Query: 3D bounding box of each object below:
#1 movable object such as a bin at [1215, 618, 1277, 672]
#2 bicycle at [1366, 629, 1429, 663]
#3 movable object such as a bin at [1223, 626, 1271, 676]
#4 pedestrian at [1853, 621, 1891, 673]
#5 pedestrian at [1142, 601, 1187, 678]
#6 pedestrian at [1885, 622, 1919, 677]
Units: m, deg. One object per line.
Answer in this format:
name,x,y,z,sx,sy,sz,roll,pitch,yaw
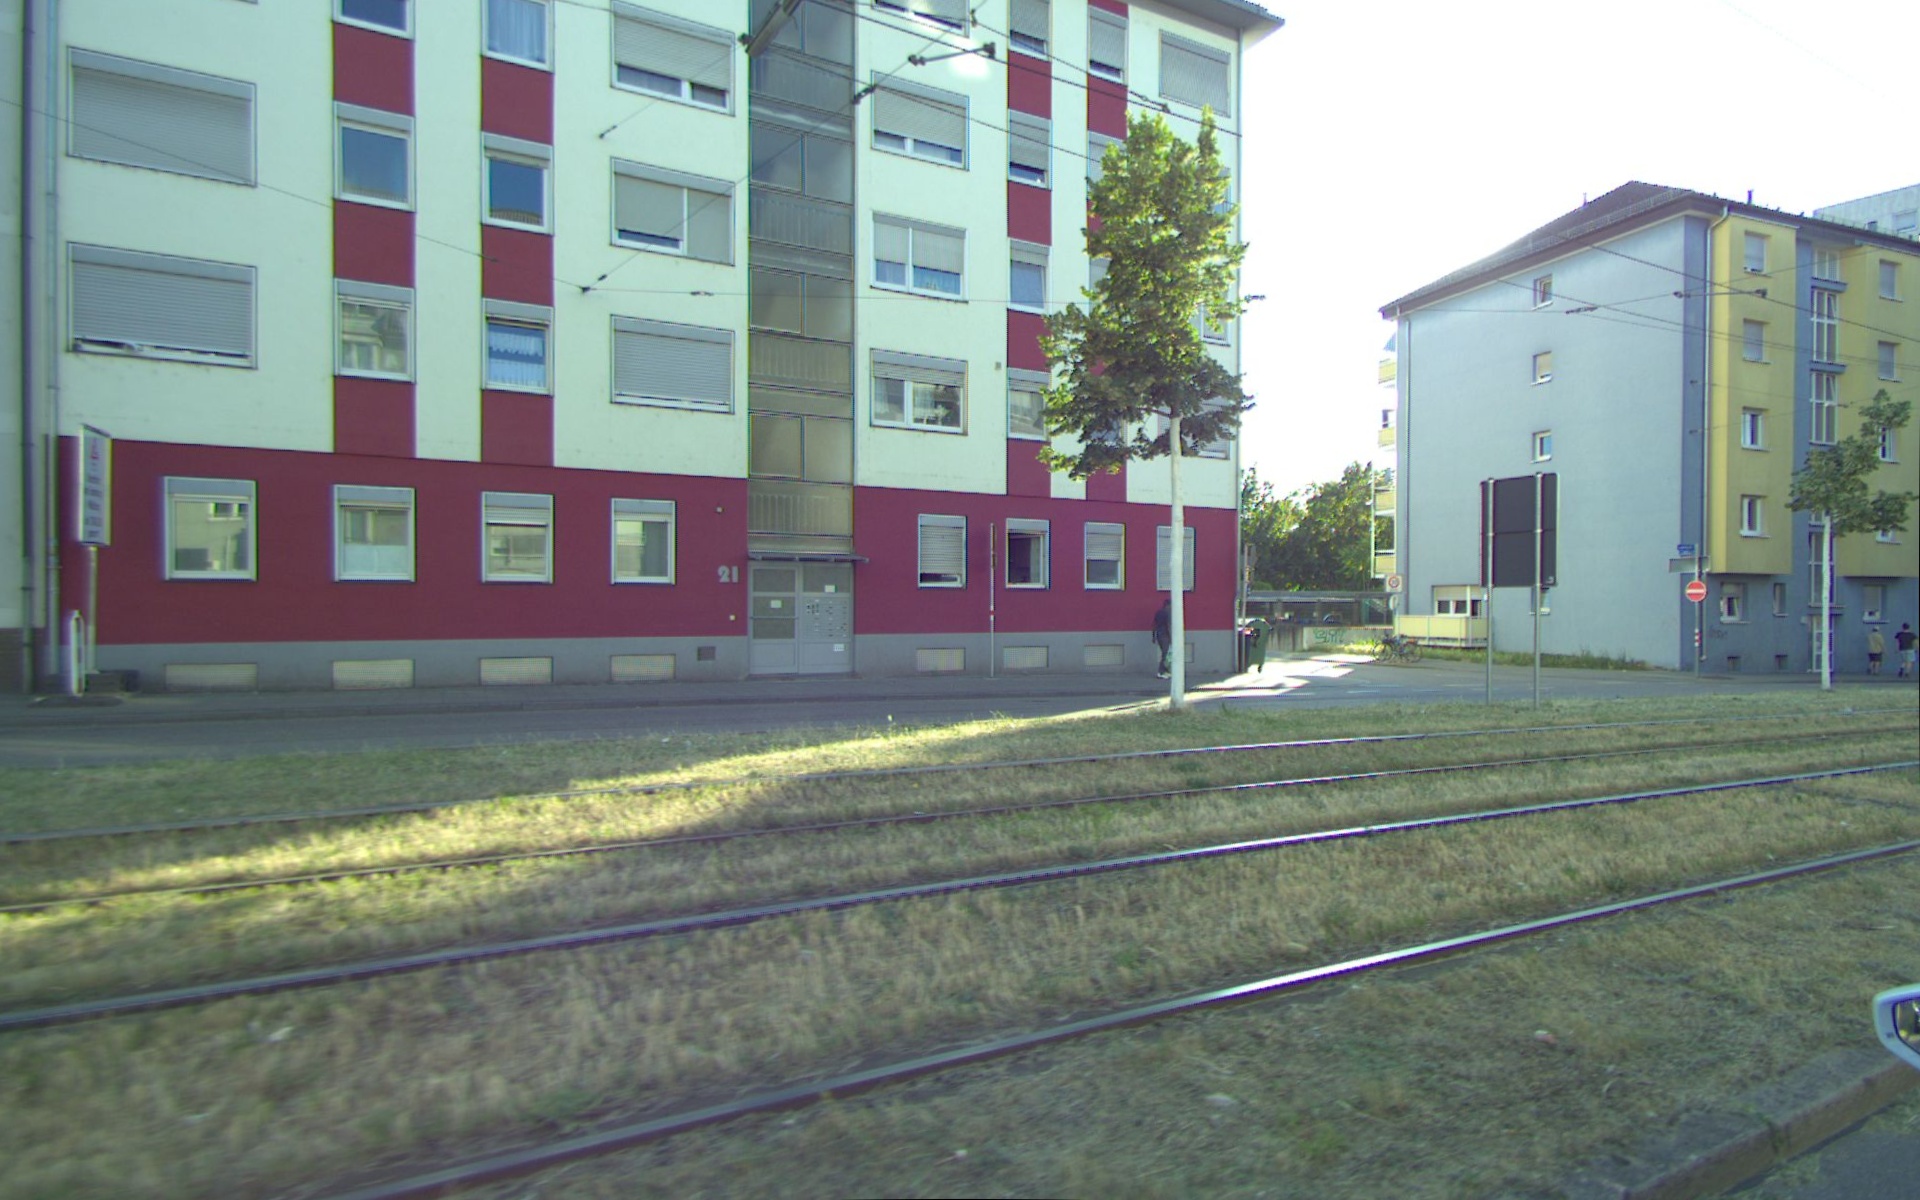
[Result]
movable object such as a bin,7.932,1.244,27.901,1.123,1.434,1.212,1,0,-27
bicycle,15.243,1.588,35.043,0.598,1.090,1.939,1,-1,-39
movable object such as a bin,7.402,1.318,25.931,0.796,1.242,0.863,1,0,-27
pedestrian,31.674,1.626,34.878,0.696,1.718,0.615,0,4,-23
pedestrian,4.669,0.889,22.902,0.781,1.712,0.611,1,0,-28
pedestrian,32.301,1.675,34.337,0.873,1.797,0.591,0,4,-23
